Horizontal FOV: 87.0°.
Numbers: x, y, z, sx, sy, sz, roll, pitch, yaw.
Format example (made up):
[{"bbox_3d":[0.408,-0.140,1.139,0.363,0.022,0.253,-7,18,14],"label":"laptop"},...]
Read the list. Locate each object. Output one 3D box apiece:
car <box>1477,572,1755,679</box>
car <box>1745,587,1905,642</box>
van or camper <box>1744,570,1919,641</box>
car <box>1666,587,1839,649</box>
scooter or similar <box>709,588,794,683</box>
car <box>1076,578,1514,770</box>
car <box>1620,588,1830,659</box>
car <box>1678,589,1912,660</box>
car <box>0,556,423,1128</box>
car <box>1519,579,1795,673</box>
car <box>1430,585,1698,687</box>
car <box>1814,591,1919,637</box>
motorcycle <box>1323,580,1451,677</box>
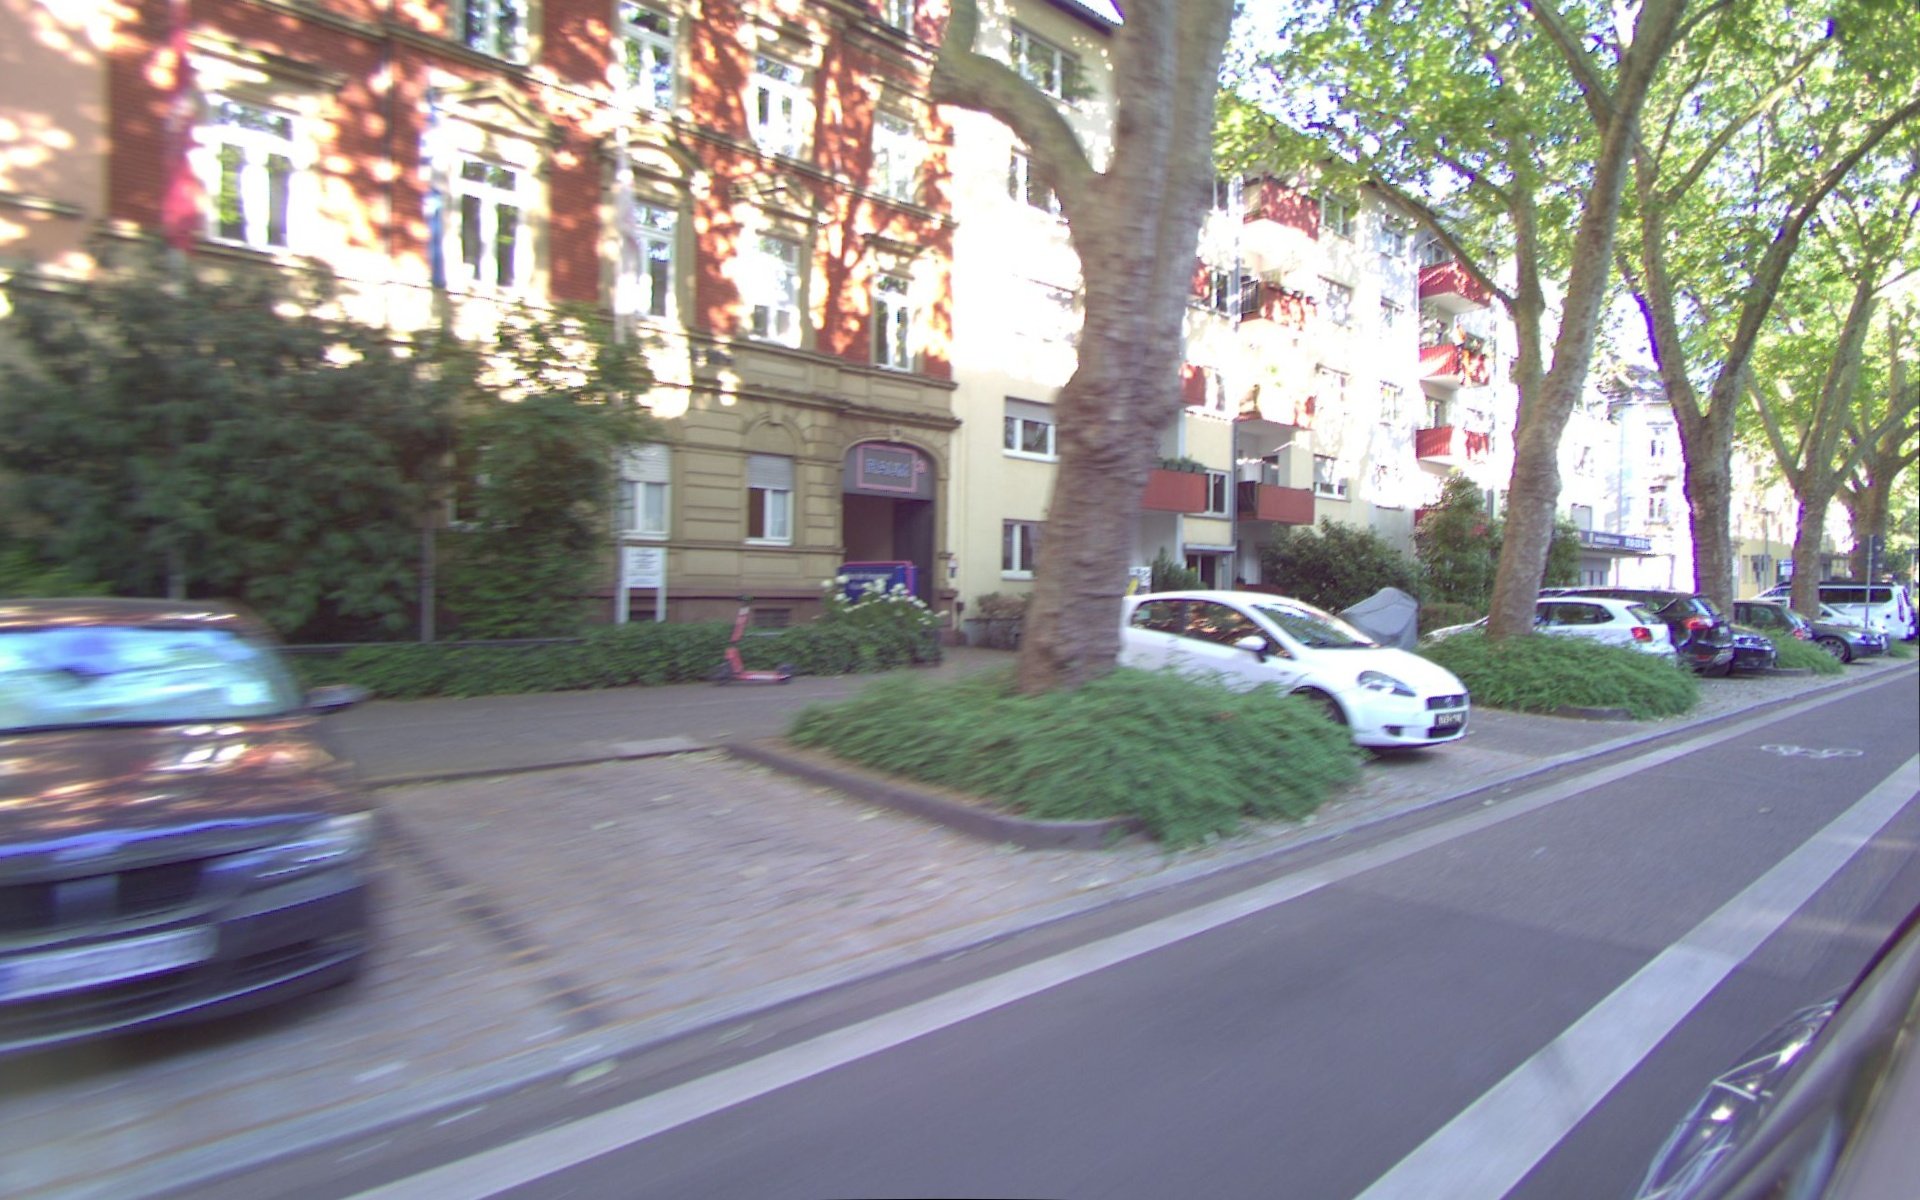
[{"bbox_3d":[12.096,0.386,18.868,1.773,1.767,4.002,0,1,-40],"label":"car"},{"bbox_3d":[26.685,0.390,31.293,1.649,1.550,3.568,0,1,-42],"label":"car"},{"bbox_3d":[28.559,0.104,33.117,1.808,2.136,4.381,-1,2,-43],"label":"van or camper"},{"bbox_3d":[21.748,0.440,27.864,1.615,1.500,3.481,0,2,-40],"label":"car"},{"bbox_3d":[-2.799,0.460,13.625,1.100,1.239,0.276,0,0,-32],"label":"scooter or similar"},{"bbox_3d":[3.201,0.567,10.319,1.658,1.498,3.962,0,2,-40],"label":"car"},{"bbox_3d":[18.412,0.501,24.476,1.672,1.461,3.830,-1,2,-44],"label":"car"},{"bbox_3d":[20.767,0.527,25.314,1.877,1.500,4.206,0,2,-39],"label":"car"},{"bbox_3d":[-3.919,0.611,4.566,1.752,1.571,4.397,0,2,-40],"label":"car"},{"bbox_3d":[13.871,0.428,20.336,1.713,1.673,4.296,0,1,-42],"label":"car"},{"bbox_3d":[10.206,0.523,17.287,1.632,1.514,3.614,0,1,-41],"label":"car"},{"bbox_3d":[31.251,0.454,34.034,1.694,1.457,3.573,0,1,-37],"label":"car"},{"bbox_3d":[7.212,0.428,17.023,2.769,1.497,0.841,0,1,-41],"label":"motorcycle"}]
